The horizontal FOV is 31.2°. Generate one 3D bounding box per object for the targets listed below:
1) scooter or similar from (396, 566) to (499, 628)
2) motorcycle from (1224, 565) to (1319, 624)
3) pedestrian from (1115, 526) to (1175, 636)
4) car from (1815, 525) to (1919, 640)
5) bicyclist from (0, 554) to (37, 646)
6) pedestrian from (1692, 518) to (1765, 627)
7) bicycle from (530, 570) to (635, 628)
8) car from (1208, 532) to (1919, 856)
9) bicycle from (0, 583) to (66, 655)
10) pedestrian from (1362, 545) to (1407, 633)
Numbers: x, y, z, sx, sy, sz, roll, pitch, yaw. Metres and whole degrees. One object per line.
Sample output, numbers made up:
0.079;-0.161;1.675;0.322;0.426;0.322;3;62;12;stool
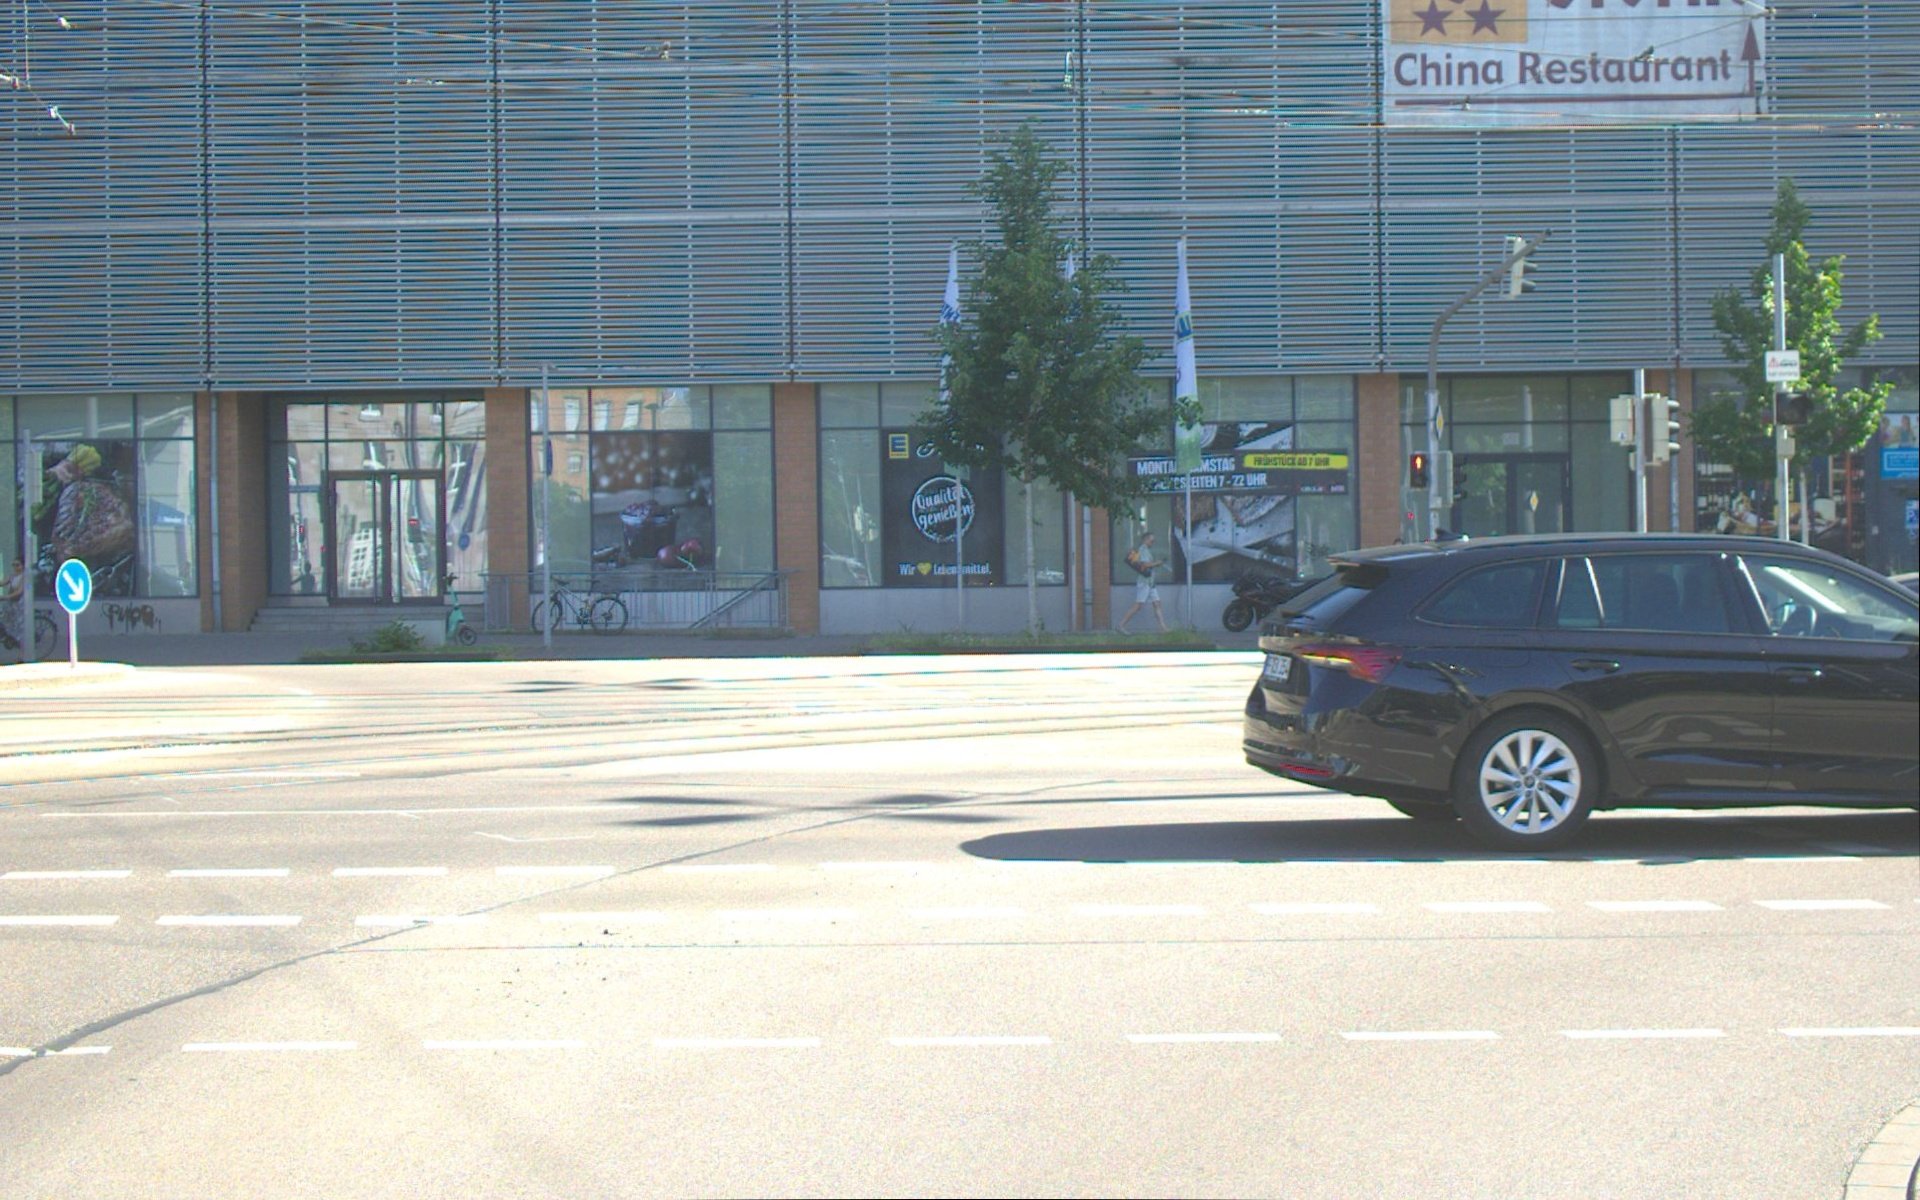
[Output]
-9.078;-0.049;60.924;1.792;1.062;0.613;0;2;-8;scooter or similar
5.495;-0.104;60.634;1.640;1.001;0.446;1;1;6;motorcycle
3.207;-0.323;59.588;0.950;1.822;0.845;-2;-3;5;pedestrian
13.754;-0.144;45.845;4.146;1.464;1.841;3;0;-1;car
-15.279;-0.001;54.780;0.675;1.422;0.847;1;3;43;bicyclist
13.106;-0.476;58.647;1.012;1.822;1.035;-2;1;3;pedestrian
-6.649;-0.020;60.542;1.815;0.986;0.558;-1;2;-10;bicycle
3.662;0.413;16.631;4.668;1.457;1.834;0;1;-5;car
-15.245;0.308;54.860;0.568;1.082;1.859;1;3;43;bicycle
6.831;-0.179;55.268;0.655;1.409;0.849;1;0;10;pedestrian
